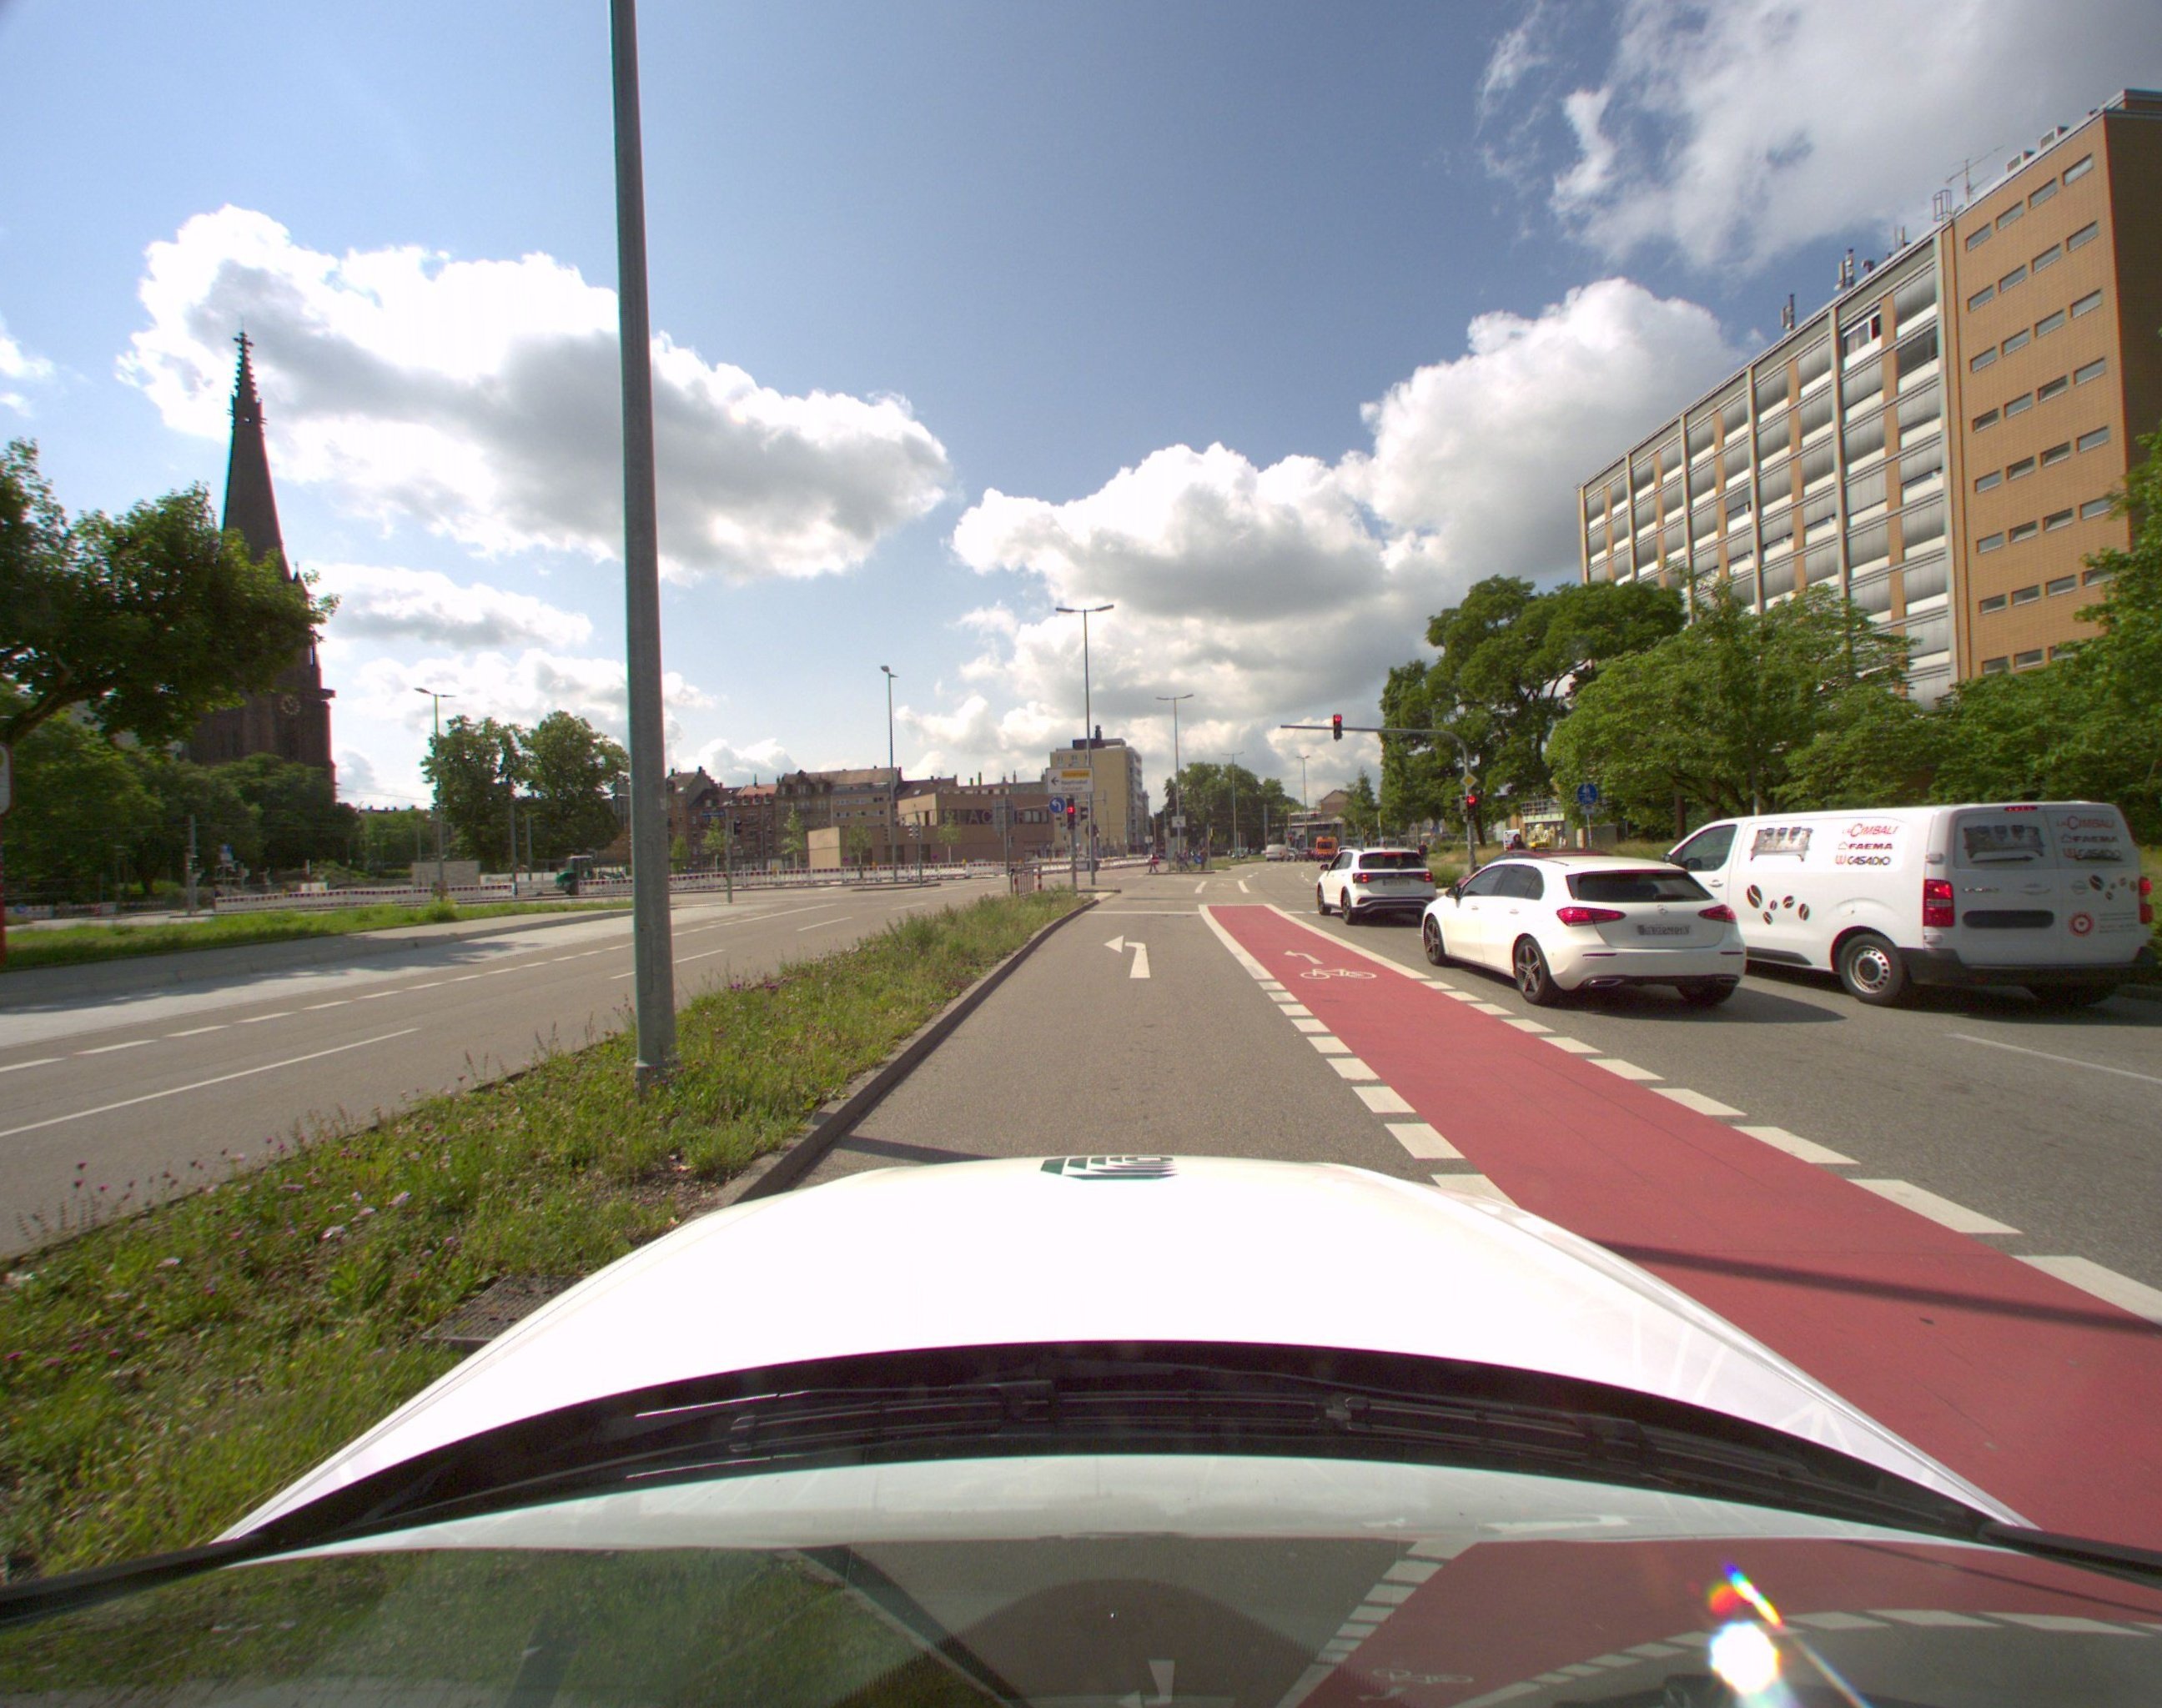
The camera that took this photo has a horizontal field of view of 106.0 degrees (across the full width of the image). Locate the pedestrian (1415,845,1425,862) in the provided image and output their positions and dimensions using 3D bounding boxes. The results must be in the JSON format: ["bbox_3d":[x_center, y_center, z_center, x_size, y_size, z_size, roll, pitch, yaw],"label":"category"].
[{"bbox_3d":[35.551,-0.031,85.391,0.780,1.784,0.671,-2,0,27],"label":"pedestrian"}]

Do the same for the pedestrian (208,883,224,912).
[{"bbox_3d":[-57.285,2.876,53.935,0.524,1.850,0.501,-3,-1,10],"label":"pedestrian"}]

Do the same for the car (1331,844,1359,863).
[{"bbox_3d":[27.406,-0.080,84.437,1.974,1.795,4.025,-3,-1,29],"label":"car"}]

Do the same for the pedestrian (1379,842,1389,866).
[{"bbox_3d":[22.600,-0.001,60.774,0.654,1.733,0.581,-2,0,20],"label":"pedestrian"}]

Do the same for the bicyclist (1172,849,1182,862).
[{"bbox_3d":[14.362,0.279,121.251,1.208,1.909,0.863,-2,0,24],"label":"bicyclist"}]

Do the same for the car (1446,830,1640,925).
[{"bbox_3d":[9.183,0.414,16.664,1.673,1.641,4.468,-2,0,4],"label":"car"}]

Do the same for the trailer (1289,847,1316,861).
[{"bbox_3d":[25.171,0.024,92.537,1.974,1.477,4.025,-3,0,29],"label":"trailer"}]

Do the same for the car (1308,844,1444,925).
[{"bbox_3d":[6.248,0.581,17.708,1.783,1.539,4.016,0,0,4],"label":"car"}]

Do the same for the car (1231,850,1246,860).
[{"bbox_3d":[23.185,0.199,119.916,1.778,1.388,4.246,-2,0,17],"label":"car"}]

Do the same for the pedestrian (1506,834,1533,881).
[{"bbox_3d":[16.520,0.133,30.719,0.736,1.735,0.682,-2,0,18],"label":"pedestrian"}]

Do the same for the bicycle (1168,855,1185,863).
[{"bbox_3d":[14.179,0.704,121.325,2.357,1.066,0.863,-2,0,24],"label":"bicycle"}]

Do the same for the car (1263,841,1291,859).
[{"bbox_3d":[22.995,-0.436,95.278,1.987,1.966,4.667,-3,0,28],"label":"car"}]

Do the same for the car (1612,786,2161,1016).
[{"bbox_3d":[8.411,0.378,9.210,1.933,1.870,4.831,-2,0,5],"label":"car"}]

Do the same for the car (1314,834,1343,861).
[{"bbox_3d":[27.542,-0.738,90.625,2.110,2.780,4.667,-3,-1,28],"label":"car"}]

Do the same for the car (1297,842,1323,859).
[{"bbox_3d":[26.878,-0.391,95.706,1.974,1.826,4.025,-3,0,29],"label":"car"}]

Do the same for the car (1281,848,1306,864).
[{"bbox_3d":[26.805,0.240,102.622,1.973,1.938,4.667,-3,0,28],"label":"car"}]

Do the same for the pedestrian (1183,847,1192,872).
[{"bbox_3d":[7.528,0.381,57.683,0.521,1.733,0.626,-2,0,13],"label":"pedestrian"}]

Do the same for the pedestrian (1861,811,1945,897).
[{"bbox_3d":[16.268,0.001,16.137,0.864,1.638,0.722,-2,0,5],"label":"pedestrian"}]

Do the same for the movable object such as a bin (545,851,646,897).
[{"bbox_3d":[-33.239,1.358,55.872,5.574,2.885,2.260,-2,-1,-43],"label":"movable object such as a bin"}]

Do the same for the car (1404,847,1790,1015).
[{"bbox_3d":[5.378,0.668,9.337,1.895,1.424,4.390,-2,0,5],"label":"car"}]

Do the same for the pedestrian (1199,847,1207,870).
[{"bbox_3d":[8.961,0.325,59.817,0.521,1.684,0.626,-2,0,13],"label":"pedestrian"}]

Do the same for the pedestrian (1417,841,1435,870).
[{"bbox_3d":[18.393,0.092,43.403,0.765,1.508,0.553,-2,0,9],"label":"pedestrian"}]

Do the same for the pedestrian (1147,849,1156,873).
[{"bbox_3d":[5.164,0.478,59.800,0.521,1.733,0.626,-2,0,13],"label":"pedestrian"}]
